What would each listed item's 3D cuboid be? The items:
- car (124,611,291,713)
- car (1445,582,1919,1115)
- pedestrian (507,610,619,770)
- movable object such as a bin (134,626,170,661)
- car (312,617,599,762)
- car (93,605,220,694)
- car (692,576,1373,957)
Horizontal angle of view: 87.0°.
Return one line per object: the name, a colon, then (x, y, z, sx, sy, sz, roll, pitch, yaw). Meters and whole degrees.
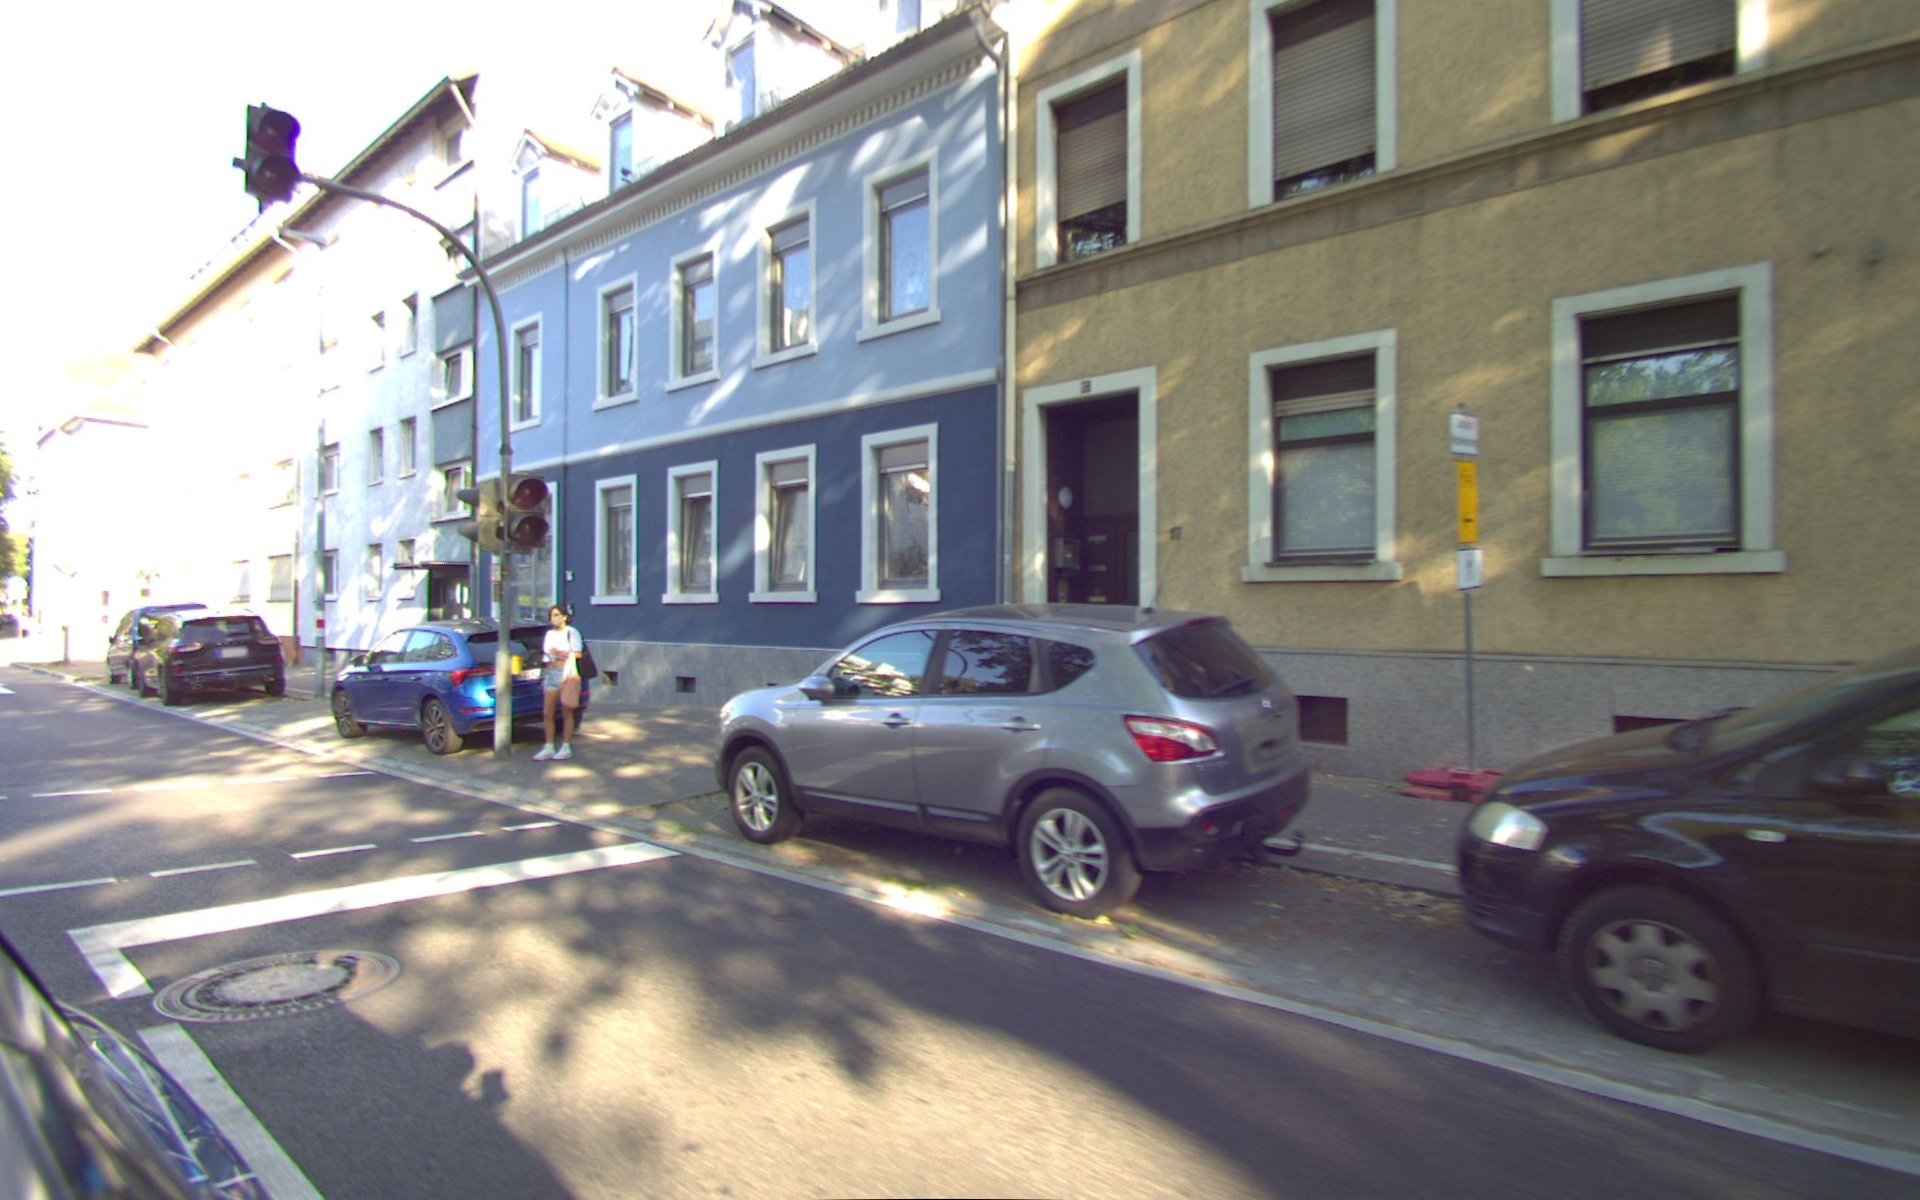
car: (-14.482, 1.078, 19.376, 4.494, 1.685, 1.885, -1, 0, 44)
car: (3.836, 0.737, 3.330, 3.706, 1.617, 1.659, -1, 0, 43)
pedestrian: (-4.141, 0.906, 10.572, 0.705, 1.582, 0.854, -1, -2, 41)
movable object such as a bin: (-30.367, 1.616, 38.037, 1.019, 1.296, 1.064, 2, -2, -38)
car: (-6.449, 0.990, 12.721, 4.258, 1.498, 1.634, -1, 0, 39)
car: (-18.395, 1.066, 23.114, 4.004, 1.832, 1.646, -1, 0, 42)
car: (0.229, 0.750, 6.523, 4.154, 1.685, 1.763, -1, 0, 41)
